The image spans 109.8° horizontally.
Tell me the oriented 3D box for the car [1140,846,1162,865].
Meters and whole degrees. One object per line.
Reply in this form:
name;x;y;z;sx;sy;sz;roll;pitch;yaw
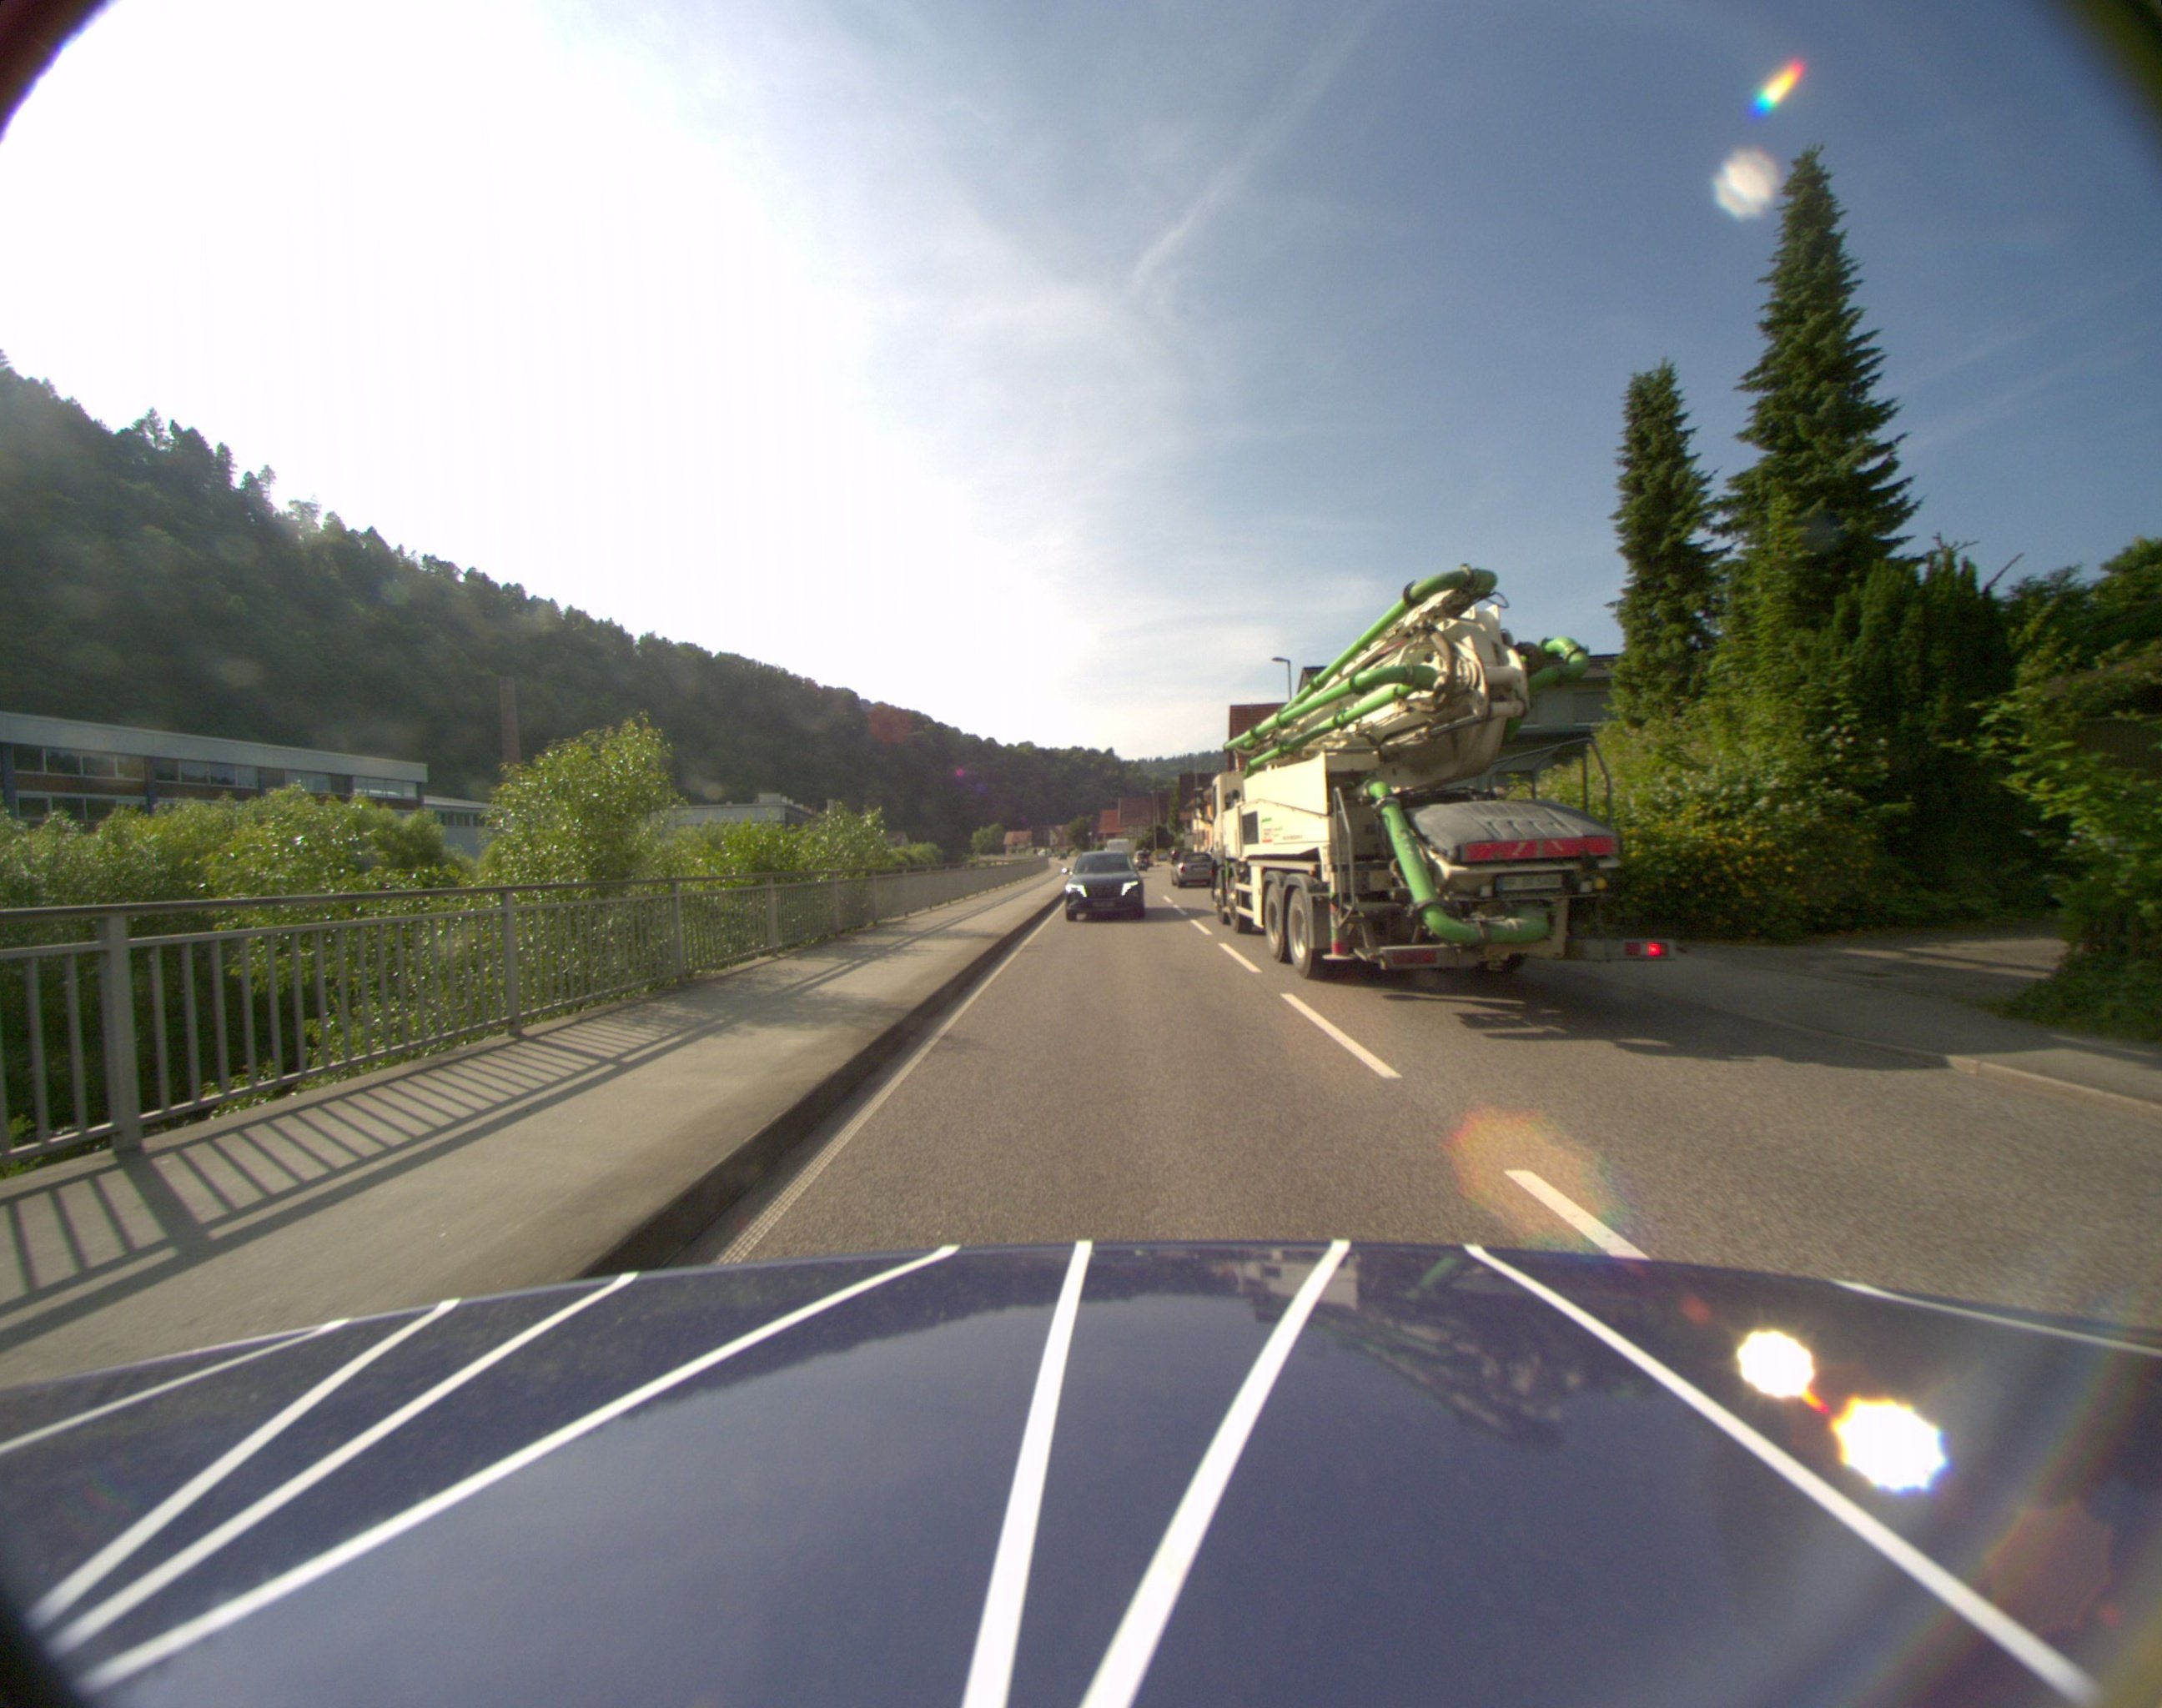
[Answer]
car;6.435;0.125;69.544;1.633;1.476;4.002;-4;1;10

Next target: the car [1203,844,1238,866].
car;10.505;0.071;57.428;1.889;1.510;4.094;-2;0;1

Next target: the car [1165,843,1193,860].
car;9.671;-0.245;75.452;1.889;1.510;4.235;-4;1;-3

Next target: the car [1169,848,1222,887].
car;4.712;0.526;31.744;1.718;1.395;4.000;-3;1;2

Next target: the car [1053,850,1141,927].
car;0.299;0.768;19.079;1.650;1.639;3.997;-3;1;-6

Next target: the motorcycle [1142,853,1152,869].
motorcycle;4.879;0.493;55.955;0.655;1.062;2.182;-2;1;4

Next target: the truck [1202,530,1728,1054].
truck;3.839;-0.508;11.459;2.584;3.909;11.306;-2;1;3

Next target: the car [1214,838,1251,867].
car;10.063;-0.133;50.771;1.905;1.655;4.268;-5;1;5

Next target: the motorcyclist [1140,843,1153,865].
motorcyclist;4.804;-0.012;55.694;0.827;1.549;0.628;-2;2;5

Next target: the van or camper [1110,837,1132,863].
van or camper;4.870;-0.451;93.374;2.201;2.921;7.126;-4;0;1
